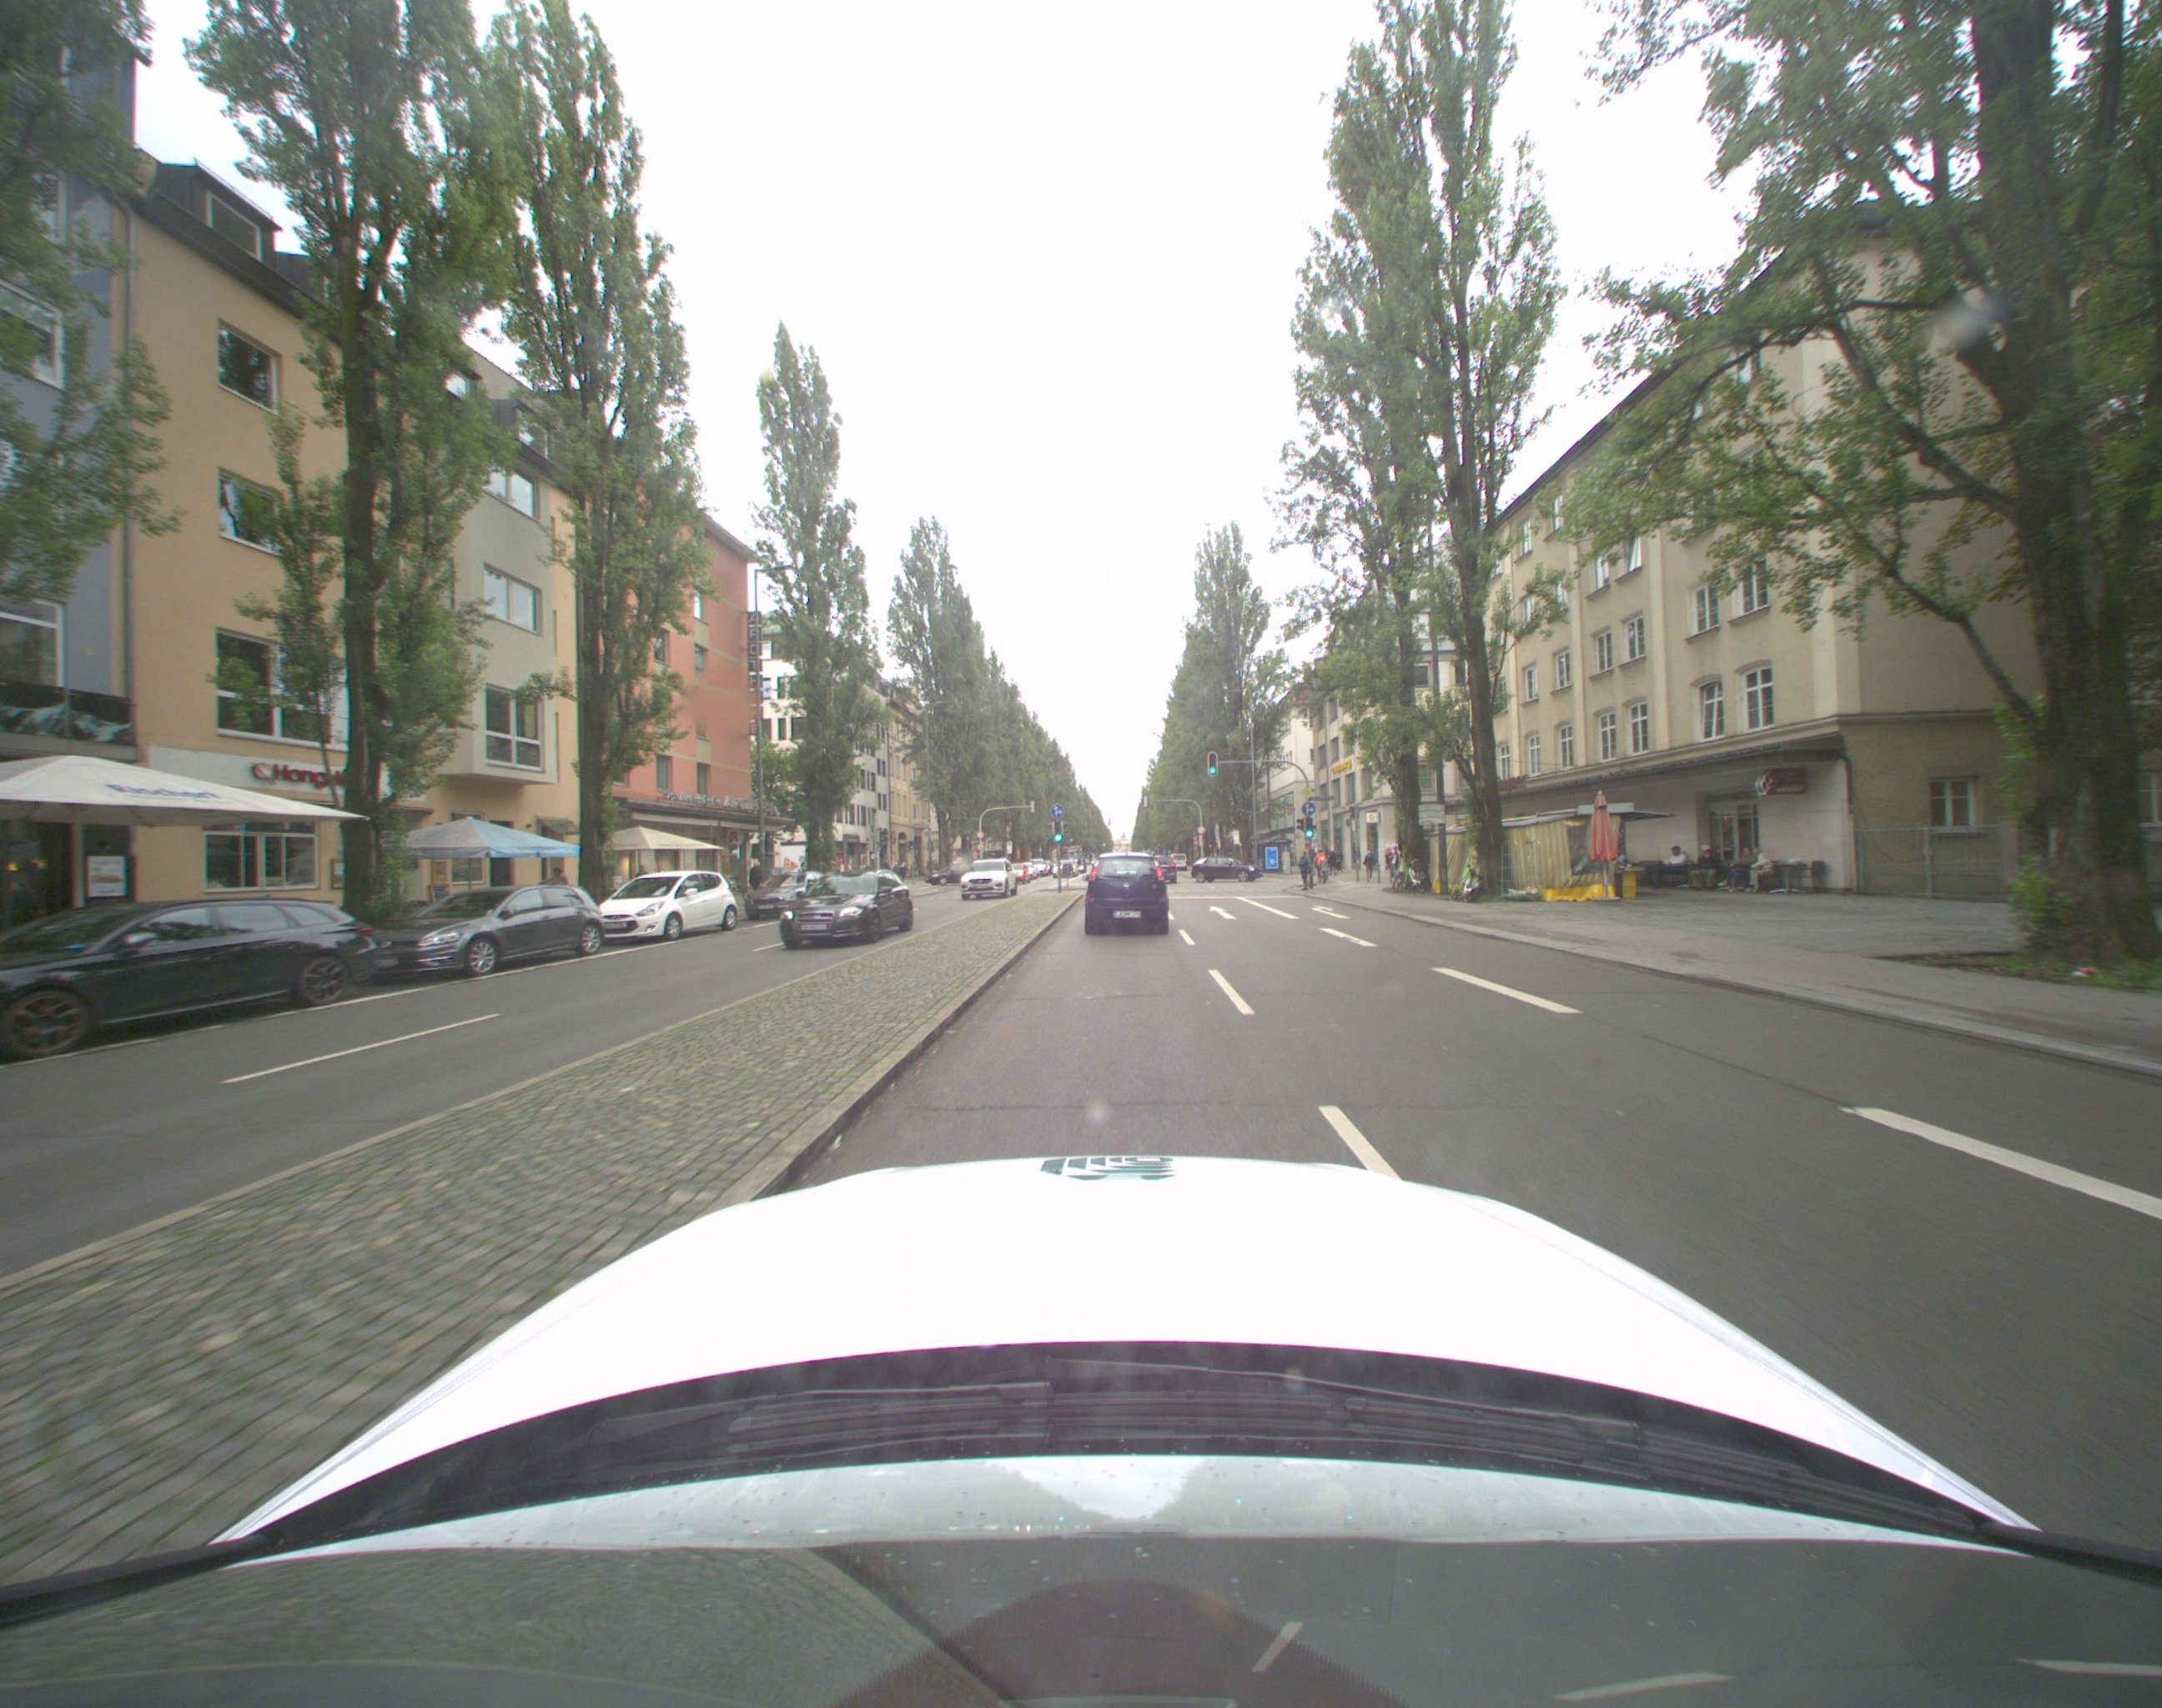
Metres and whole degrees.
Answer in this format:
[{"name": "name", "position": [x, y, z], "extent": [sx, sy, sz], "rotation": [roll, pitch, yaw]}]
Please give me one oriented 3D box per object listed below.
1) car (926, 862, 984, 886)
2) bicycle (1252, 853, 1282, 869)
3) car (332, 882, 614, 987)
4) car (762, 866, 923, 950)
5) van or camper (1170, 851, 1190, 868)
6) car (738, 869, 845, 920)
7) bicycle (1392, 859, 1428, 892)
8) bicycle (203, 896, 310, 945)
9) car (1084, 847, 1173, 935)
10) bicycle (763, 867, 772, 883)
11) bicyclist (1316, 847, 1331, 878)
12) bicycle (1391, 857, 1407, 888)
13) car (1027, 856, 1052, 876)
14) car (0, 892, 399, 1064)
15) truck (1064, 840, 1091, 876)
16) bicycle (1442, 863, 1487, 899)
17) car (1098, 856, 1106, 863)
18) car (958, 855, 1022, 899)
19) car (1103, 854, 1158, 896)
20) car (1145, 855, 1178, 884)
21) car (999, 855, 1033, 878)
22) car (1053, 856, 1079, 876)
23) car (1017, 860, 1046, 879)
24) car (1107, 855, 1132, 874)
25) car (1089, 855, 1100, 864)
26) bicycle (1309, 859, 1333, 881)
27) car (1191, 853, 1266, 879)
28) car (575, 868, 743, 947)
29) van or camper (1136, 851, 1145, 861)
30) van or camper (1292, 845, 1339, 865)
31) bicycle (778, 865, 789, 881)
[{"name": "car", "position": [-8.571, 1.347, 55.311], "extent": [3.699, 1.475, 1.763], "rotation": [-2, 0, -16]}, {"name": "bicycle", "position": [15.267, 0.569, 66.846], "extent": [2.334, 1.252, 0.633], "rotation": [-2, 0, 2]}, {"name": "car", "position": [-10.232, 1.275, 14.171], "extent": [1.487, 1.381, 4.191], "rotation": [-3, -1, 4]}, {"name": "car", "position": [-4.771, 1.021, 16.975], "extent": [1.828, 1.361, 4.180], "rotation": [-4, 0, 3]}, {"name": "van or camper", "position": [11.178, 0.626, 92.283], "extent": [1.861, 1.883, 4.906], "rotation": [-1, 0, 3]}, {"name": "car", "position": [-9.546, 1.278, 27.268], "extent": [1.696, 1.438, 4.593], "rotation": [-3, -1, 3]}, {"name": "bicycle", "position": [11.211, 0.719, 27.777], "extent": [0.506, 1.048, 1.771], "rotation": [-2, 0, 1]}, {"name": "bicycle", "position": [-19.693, 1.560, 19.523], "extent": [0.440, 1.002, 1.959], "rotation": [-2, 0, 5]}, {"name": "car", "position": [0.976, 0.707, 17.479], "extent": [1.675, 1.641, 4.002], "rotation": [-1, 0, 2]}, {"name": "bicycle", "position": [-23.098, 1.543, 59.954], "extent": [0.416, 1.184, 1.997], "rotation": [-2, 0, -16]}, {"name": "bicyclist", "position": [12.436, 0.430, 41.792], "extent": [0.619, 1.588, 0.481], "rotation": [-2, -1, 2]}, {"name": "bicycle", "position": [11.703, 0.664, 30.005], "extent": [0.401, 1.070, 1.820], "rotation": [4, 1, 19]}, {"name": "car", "position": [-3.872, 1.106, 77.058], "extent": [1.829, 1.716, 4.640], "rotation": [-2, 0, 3]}, {"name": "car", "position": [-10.578, 1.256, 9.266], "extent": [1.696, 1.412, 4.437], "rotation": [-3, -1, 3]}, {"name": "truck", "position": [-0.308, 0.412, 89.064], "extent": [2.453, 3.670, 8.446], "rotation": [-2, 0, 3]}, {"name": "bicycle", "position": [11.137, 0.756, 23.693], "extent": [0.506, 0.975, 1.771], "rotation": [-2, 0, 1]}, {"name": "car", "position": [5.172, 1.261, 200.700], "extent": [1.927, 1.623, 4.339], "rotation": [-3, 0, 3]}, {"name": "car", "position": [-3.767, 0.909, 34.466], "extent": [1.836, 1.636, 4.580], "rotation": [-3, 0, 4]}, {"name": "car", "position": [1.901, 0.785, 32.211], "extent": [1.986, 1.497, 4.002], "rotation": [-2, 0, 2]}, {"name": "car", "position": [4.705, 0.877, 48.106], "extent": [1.699, 1.574, 4.002], "rotation": [-2, 0, 2]}, {"name": "car", "position": [-4.414, 0.848, 55.689], "extent": [1.729, 1.437, 3.826], "rotation": [-2, -1, 3]}, {"name": "car", "position": [-1.247, 0.986, 69.350], "extent": [1.836, 1.502, 4.989], "rotation": [-2, 0, 3]}, {"name": "car", "position": [-4.009, 1.216, 66.670], "extent": [1.815, 1.408, 4.635], "rotation": [-2, 0, 3]}, {"name": "car", "position": [3.192, 0.868, 68.277], "extent": [1.986, 1.497, 4.002], "rotation": [-2, 0, 2]}, {"name": "car", "position": [2.784, 1.071, 165.019], "extent": [1.905, 1.681, 4.589], "rotation": [-2, 0, 3]}, {"name": "bicycle", "position": [12.473, 0.823, 42.353], "extent": [0.624, 1.087, 2.265], "rotation": [-2, 0, 2]}, {"name": "car", "position": [8.725, 0.703, 48.083], "extent": [3.949, 1.461, 1.770], "rotation": [-2, 0, 30]}, {"name": "car", "position": [-9.965, 1.190, 19.644], "extent": [1.696, 1.583, 4.099], "rotation": [-3, -1, 3]}, {"name": "van or camper", "position": [16.641, 0.596, 228.751], "extent": [2.466, 2.581, 5.849], "rotation": [-2, 0, 3]}, {"name": "van or camper", "position": [22.730, 0.134, 78.992], "extent": [4.083, 1.867, 1.901], "rotation": [0, -1, 6]}, {"name": "bicycle", "position": [-22.731, 1.478, 62.241], "extent": [0.450, 1.184, 2.054], "rotation": [-2, 0, -13]}]
